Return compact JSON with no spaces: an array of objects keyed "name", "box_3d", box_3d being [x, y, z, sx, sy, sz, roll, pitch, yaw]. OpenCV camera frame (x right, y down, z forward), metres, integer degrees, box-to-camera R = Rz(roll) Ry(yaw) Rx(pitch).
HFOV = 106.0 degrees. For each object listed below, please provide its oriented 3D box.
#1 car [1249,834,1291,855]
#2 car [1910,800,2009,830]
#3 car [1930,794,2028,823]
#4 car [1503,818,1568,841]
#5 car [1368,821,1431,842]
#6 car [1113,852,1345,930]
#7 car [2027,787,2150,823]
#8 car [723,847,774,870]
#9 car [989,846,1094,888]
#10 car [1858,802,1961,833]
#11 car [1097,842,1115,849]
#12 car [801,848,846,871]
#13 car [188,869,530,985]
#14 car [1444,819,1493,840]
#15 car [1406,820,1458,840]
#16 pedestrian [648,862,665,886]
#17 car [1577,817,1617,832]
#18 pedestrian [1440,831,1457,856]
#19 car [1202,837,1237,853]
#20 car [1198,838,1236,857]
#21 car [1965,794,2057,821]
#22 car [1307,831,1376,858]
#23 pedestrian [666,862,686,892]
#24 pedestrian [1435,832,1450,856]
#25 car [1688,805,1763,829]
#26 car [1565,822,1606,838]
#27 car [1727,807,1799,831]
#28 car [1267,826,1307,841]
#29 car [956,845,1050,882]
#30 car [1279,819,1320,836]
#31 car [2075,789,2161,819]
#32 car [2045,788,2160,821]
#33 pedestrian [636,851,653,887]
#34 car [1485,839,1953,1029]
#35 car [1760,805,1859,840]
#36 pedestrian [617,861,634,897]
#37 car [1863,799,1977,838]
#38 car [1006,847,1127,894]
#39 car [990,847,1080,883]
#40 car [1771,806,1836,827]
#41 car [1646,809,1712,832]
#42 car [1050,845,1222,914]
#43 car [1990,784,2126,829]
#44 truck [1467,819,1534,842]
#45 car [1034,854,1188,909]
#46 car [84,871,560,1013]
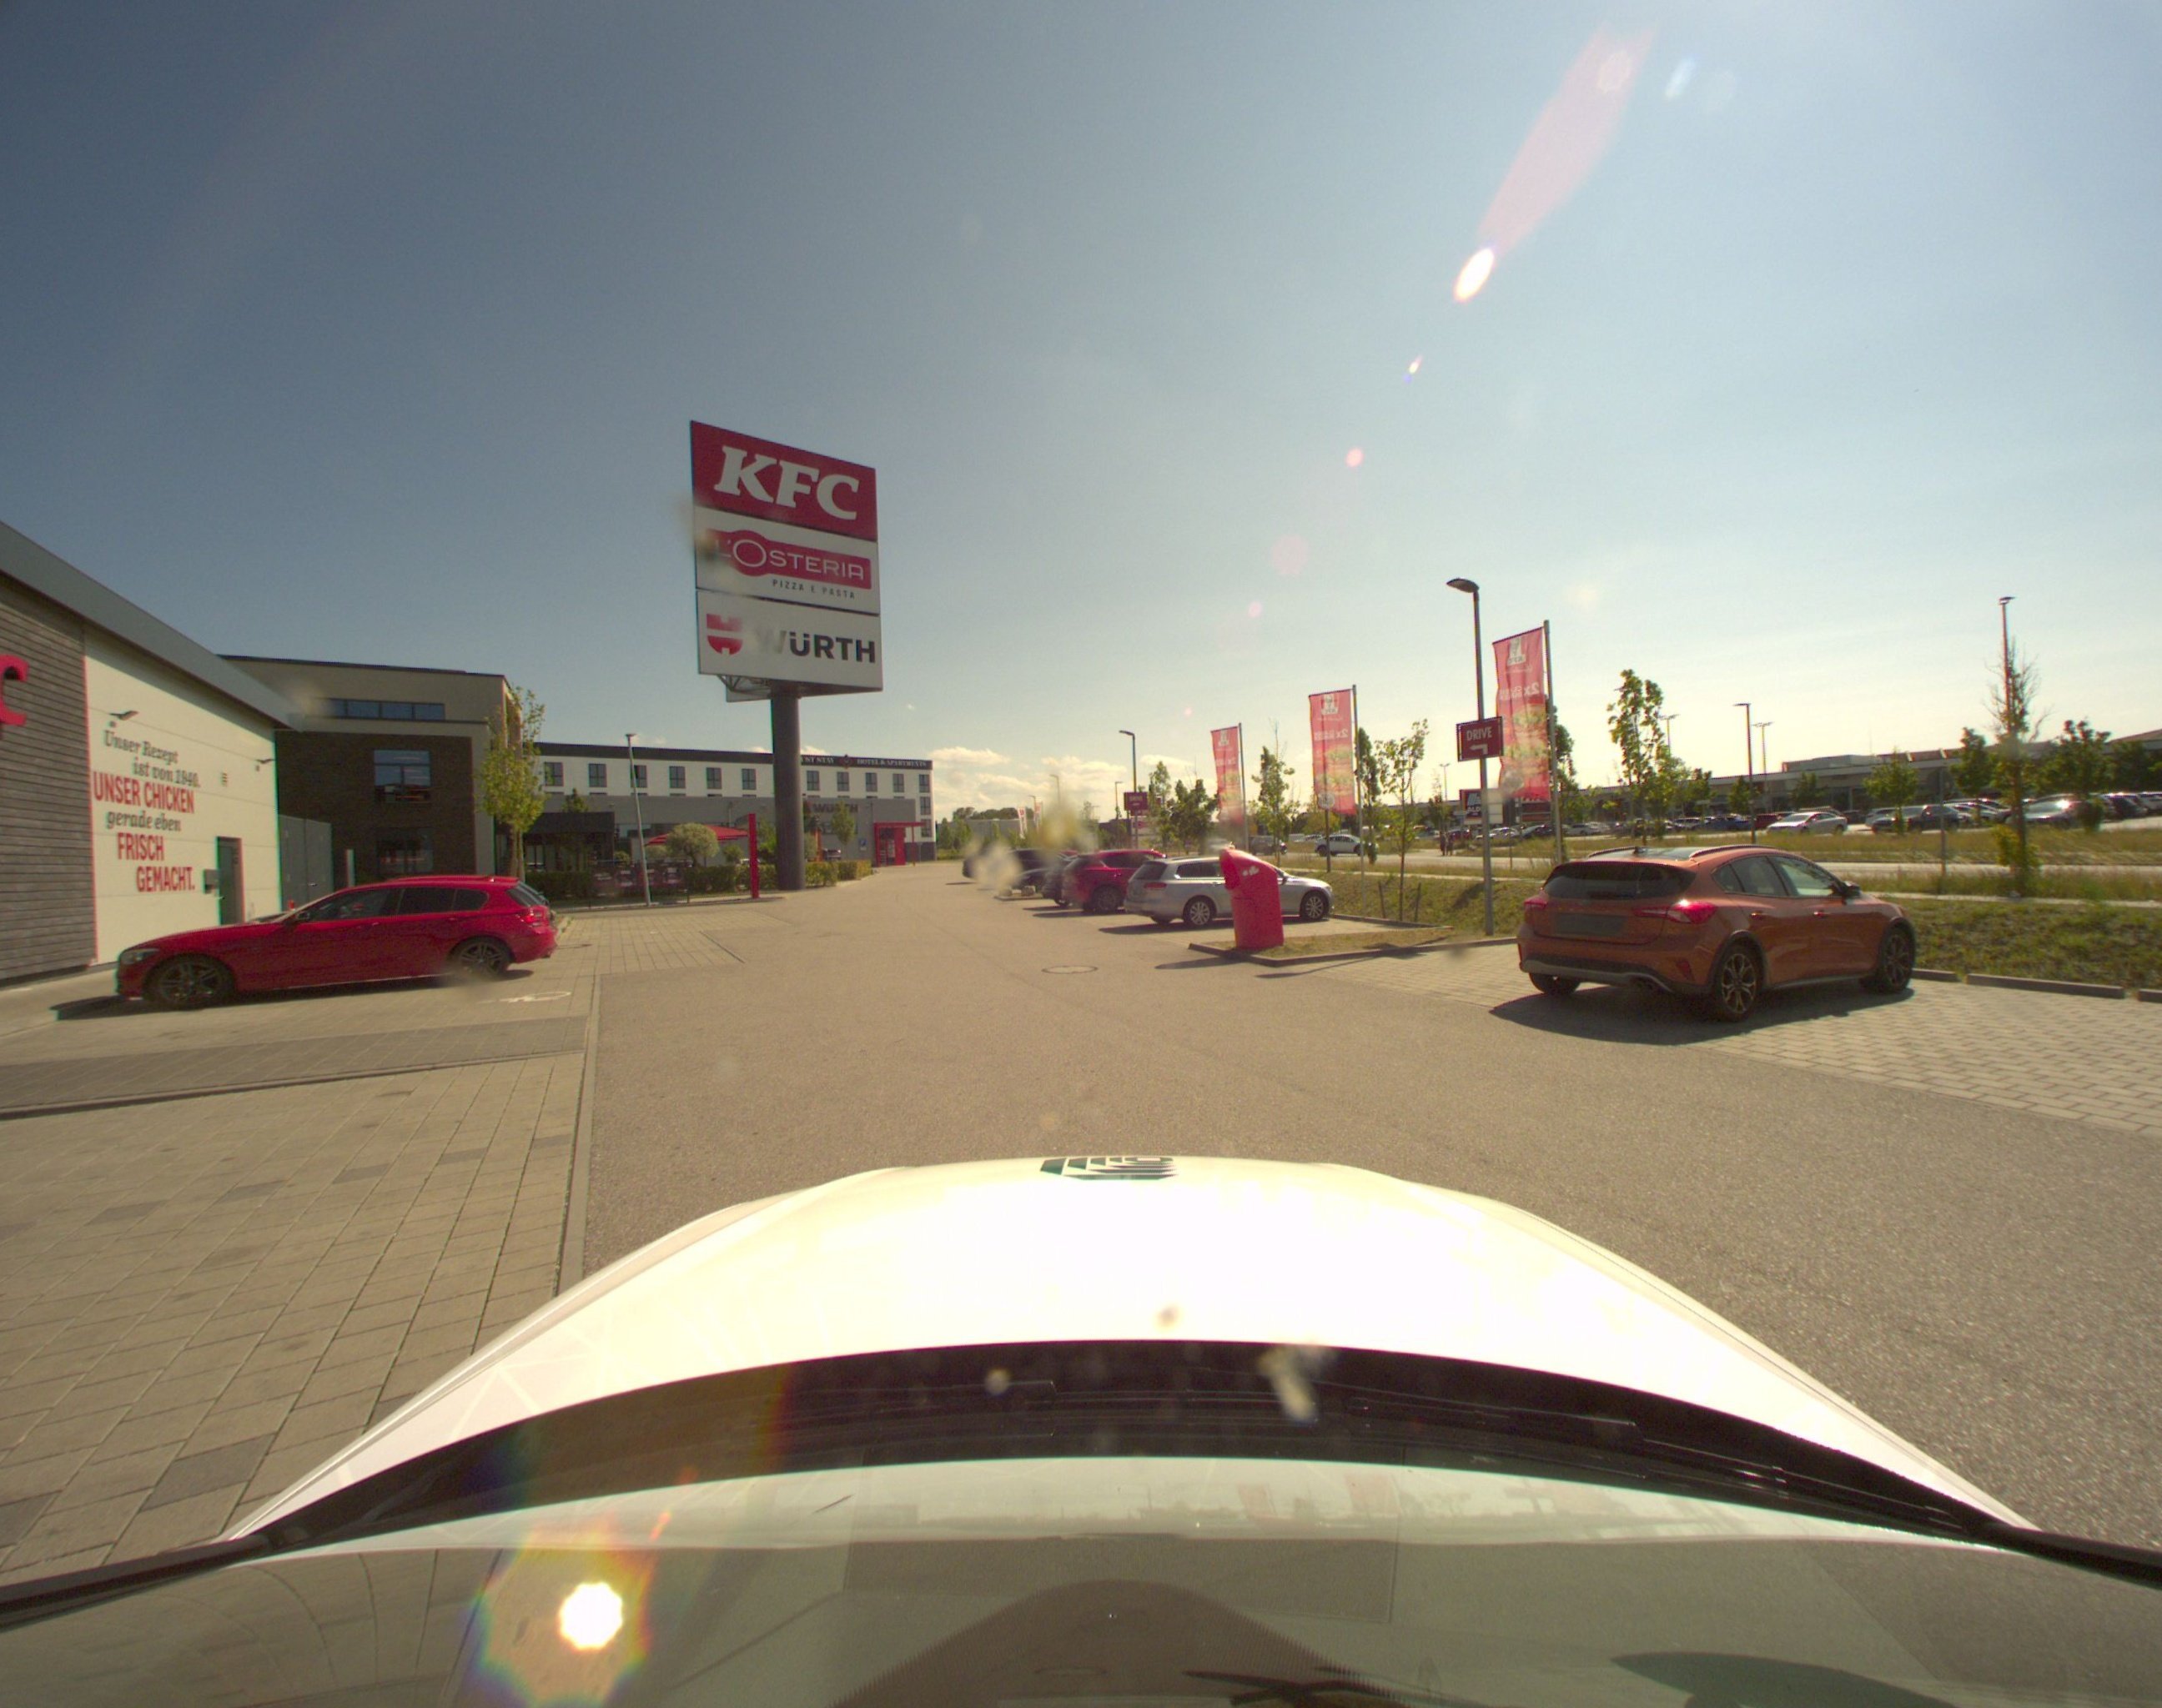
[{"name":"car","box_3d":[16.158,-0.834,69.969,1.873,1.664,4.588,-2,1,-10]},{"name":"car","box_3d":[61.097,-2.684,56.717,1.962,1.855,4.362,-2,1,-31]},{"name":"car","box_3d":[63.497,-3.192,57.649,1.962,1.855,4.362,-2,1,-31]},{"name":"car","box_3d":[39.039,-2.110,69.961,4.718,1.846,1.993,-2,1,-11]},{"name":"car","box_3d":[36.314,-2.568,92.903,6.308,2.237,2.800,-2,1,-18]},{"name":"car","box_3d":[3.151,0.714,17.379,4.600,1.413,1.729,-1,0,-19]},{"name":"car","box_3d":[59.474,-2.866,48.161,1.962,1.855,4.362,-2,1,-31]},{"name":"car","box_3d":[-23.520,0.311,57.523,1.965,1.530,4.324,-3,1,-42]},{"name":"car","box_3d":[-1.777,0.569,36.418,4.331,1.702,1.884,-1,0,-19]},{"name":"car","box_3d":[53.800,-2.344,52.971,1.962,1.855,4.362,-2,1,-31]},{"name":"car","box_3d":[5.961,-2.010,194.949,3.978,1.657,1.885,-3,1,-38]},{"name":"car","box_3d":[-22.658,0.483,71.632,2.088,1.880,4.823,-3,1,-39]},{"name":"car","box_3d":[-11.497,1.078,13.392,3.922,1.506,1.723,-2,0,-32]},{"name":"car","box_3d":[39.366,-2.512,82.827,4.074,2.013,1.995,-2,1,-8]},{"name":"car","box_3d":[37.757,-2.593,87.638,5.182,2.013,1.986,-2,1,-21]},{"name":"pedestrian","box_3d":[-22.831,1.072,43.788,0.711,1.198,0.612,-2,1,-23]},{"name":"car","box_3d":[57.088,-3.272,90.127,1.674,1.552,3.438,-3,1,-36]},{"name":"pedestrian","box_3d":[23.735,-0.663,52.643,0.689,1.599,0.755,-2,1,-5]},{"name":"car","box_3d":[14.068,-0.923,83.096,1.995,1.504,4.639,-2,1,-12]},{"name":"car","box_3d":[11.980,-0.601,72.086,1.993,1.526,4.643,-2,1,-9]},{"name":"car","box_3d":[70.333,-3.503,61.679,1.963,1.855,4.359,-3,1,-33]},{"name":"car","box_3d":[19.030,-0.687,59.597,4.351,1.845,2.012,-1,1,43]},{"name":"pedestrian","box_3d":[-19.022,1.083,38.258,0.476,1.366,0.655,-1,1,34]},{"name":"pedestrian","box_3d":[23.744,-0.675,53.504,0.623,1.556,0.666,-2,1,-5]},{"name":"car","box_3d":[53.835,-3.076,68.112,1.962,1.855,4.529,-2,1,-31]},{"name":"car","box_3d":[54.900,-2.596,88.655,1.674,1.552,3.438,-3,1,-36]},{"name":"car","box_3d":[60.668,-3.096,72.486,1.962,1.855,4.529,-2,1,-31]},{"name":"car","box_3d":[28.868,-2.861,114.114,5.079,2.013,1.986,-2,1,-21]},{"name":"car","box_3d":[-4.036,0.474,41.980,4.581,1.760,1.887,-1,0,-14]},{"name":"car","box_3d":[29.043,-3.511,108.461,5.079,2.013,1.986,-2,1,-21]},{"name":"car","box_3d":[70.803,-3.386,55.043,1.962,1.855,4.362,-2,1,-31]},{"name":"car","box_3d":[65.487,-3.151,52.284,1.962,1.855,4.362,-2,1,-31]},{"name":"pedestrian","box_3d":[-18.702,0.623,34.874,0.528,1.505,0.563,-2,1,-33]},{"name":"car","box_3d":[6.429,0.626,8.198,4.357,1.469,1.819,-1,0,-23]},{"name":"car","box_3d":[42.495,-1.839,47.553,4.269,1.855,1.995,-2,1,-8]},{"name":"pedestrian","box_3d":[-19.414,1.069,34.706,0.528,1.505,0.563,-2,1,-33]},{"name":"car","box_3d":[43.834,-1.817,42.597,4.387,1.855,1.951,-2,1,-8]},{"name":"car","box_3d":[-0.596,0.610,31.864,4.439,1.638,1.888,-1,0,-12]},{"name":"car","box_3d":[-2.270,0.515,39.504,4.074,1.608,1.887,-1,1,-14]},{"name":"car","box_3d":[70.872,-3.692,79.968,1.962,1.855,4.362,-2,1,-31]},{"name":"car","box_3d":[59.212,-3.317,80.744,2.091,2.013,4.879,-3,1,-35]},{"name":"car","box_3d":[1.456,0.637,22.062,4.230,1.638,1.939,-1,0,-19]},{"name":"car","box_3d":[44.557,-2.137,37.195,4.387,1.855,1.951,-2,1,-8]},{"name":"truck","box_3d":[38.649,-2.157,75.090,5.418,1.863,1.993,-2,1,-11]},{"name":"car","box_3d":[0.878,0.760,24.016,4.208,1.410,1.761,-1,0,-21]},{"name":"car","box_3d":[-9.671,1.019,10.985,4.418,1.413,1.722,-2,0,-33]}]
